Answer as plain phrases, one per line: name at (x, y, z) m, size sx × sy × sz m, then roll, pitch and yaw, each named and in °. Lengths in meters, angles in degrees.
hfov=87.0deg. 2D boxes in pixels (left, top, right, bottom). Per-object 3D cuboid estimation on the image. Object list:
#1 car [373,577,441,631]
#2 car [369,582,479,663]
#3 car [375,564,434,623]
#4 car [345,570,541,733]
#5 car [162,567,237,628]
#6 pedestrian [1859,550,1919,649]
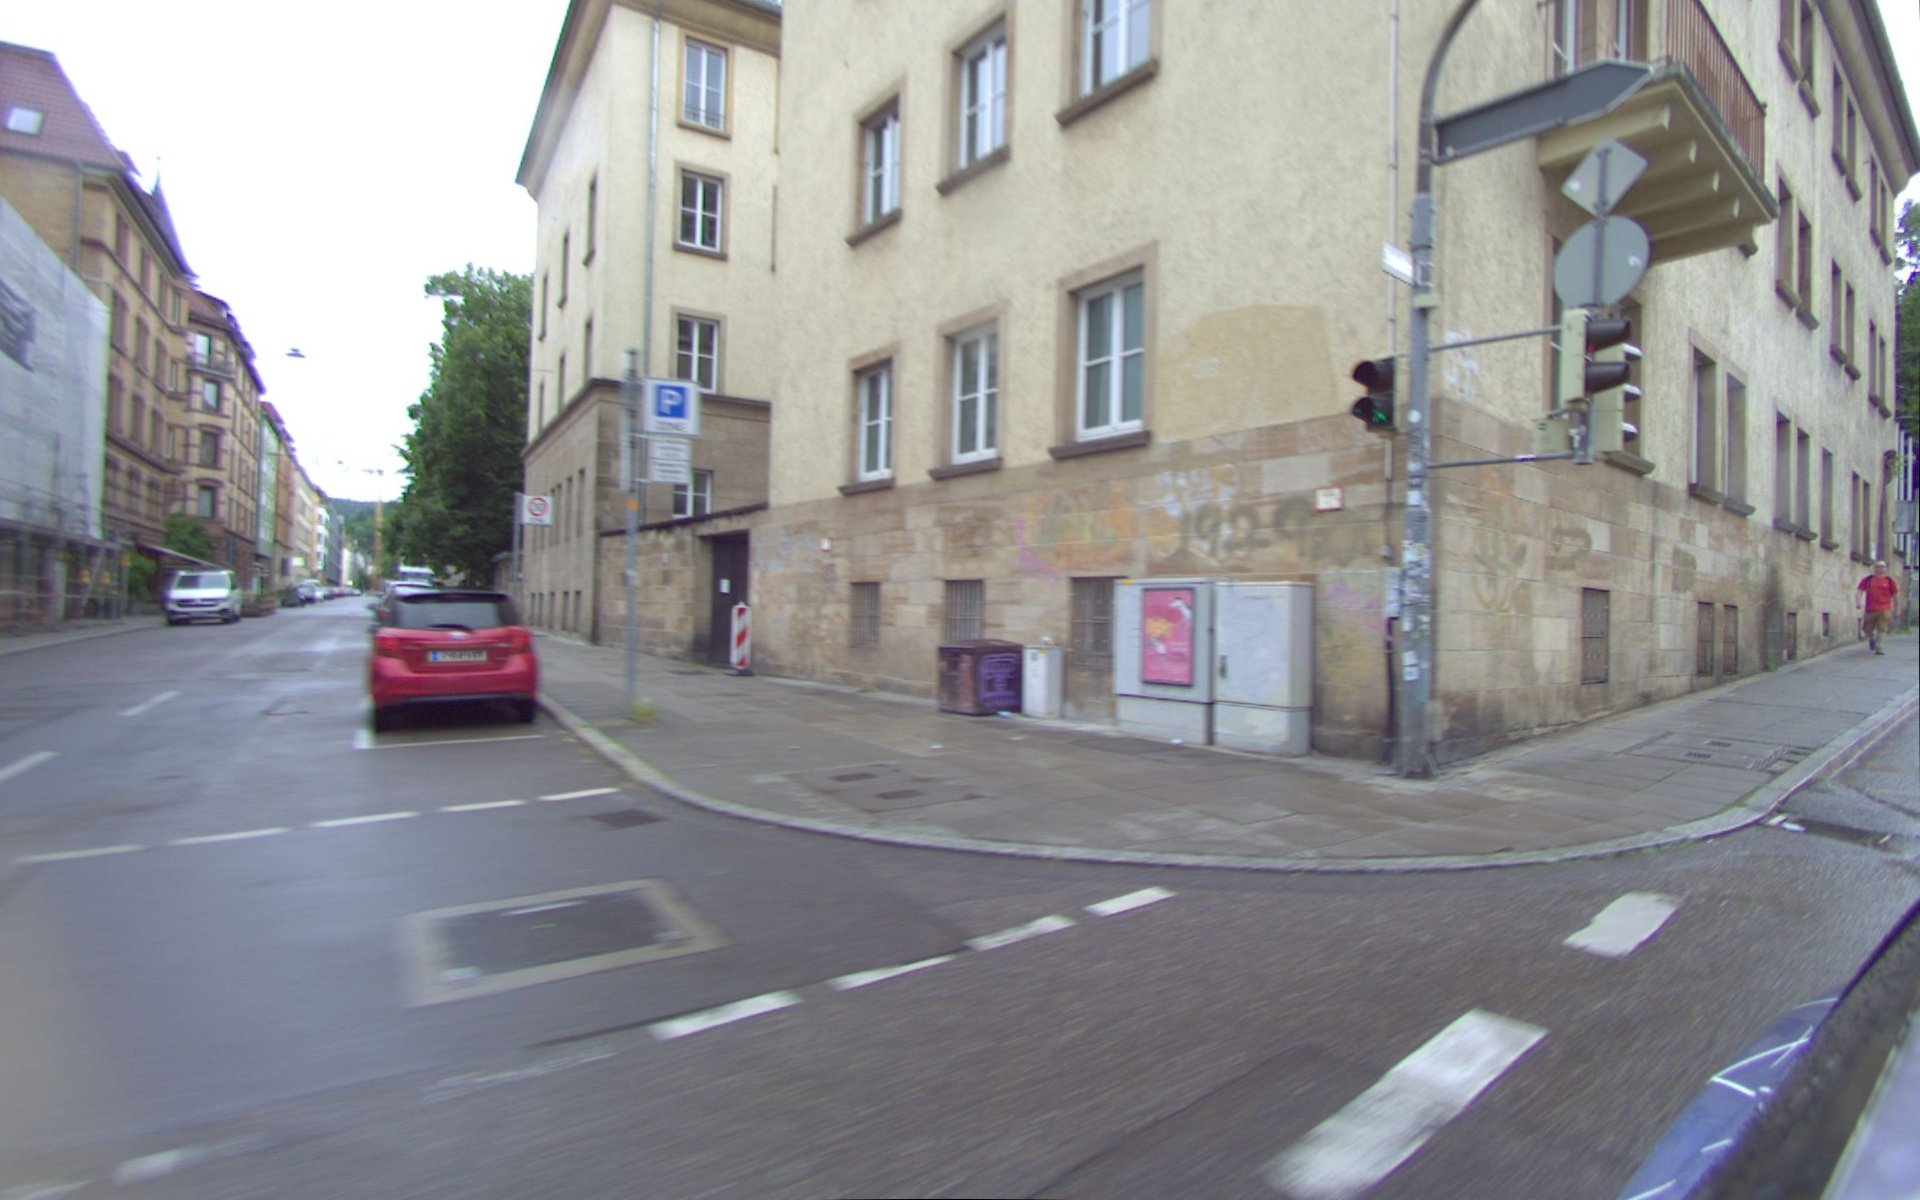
car at (-18.960, 0.079, 34.614) m, size 1.798 × 1.634 × 3.865 m, roll -2°, pitch 3°, yaw -32°
car at (-11.393, 0.398, 21.395) m, size 1.798 × 1.473 × 3.865 m, roll -1°, pitch 2°, yaw -32°
car at (-21.918, -0.304, 39.881) m, size 1.798 × 2.192 × 3.865 m, roll -2°, pitch 2°, yaw -32°
car at (-6.141, 0.437, 11.976) m, size 1.730 × 1.537 × 3.868 m, roll -2°, pitch 3°, yaw -29°
car at (-28.318, -0.169, 37.787) m, size 1.798 × 2.096 × 4.335 m, roll -2°, pitch 2°, yaw -32°
pedestrian at (17.502, -0.027, 19.019) m, size 0.804 × 1.785 × 0.748 m, roll -1°, pitch 4°, yaw -42°
